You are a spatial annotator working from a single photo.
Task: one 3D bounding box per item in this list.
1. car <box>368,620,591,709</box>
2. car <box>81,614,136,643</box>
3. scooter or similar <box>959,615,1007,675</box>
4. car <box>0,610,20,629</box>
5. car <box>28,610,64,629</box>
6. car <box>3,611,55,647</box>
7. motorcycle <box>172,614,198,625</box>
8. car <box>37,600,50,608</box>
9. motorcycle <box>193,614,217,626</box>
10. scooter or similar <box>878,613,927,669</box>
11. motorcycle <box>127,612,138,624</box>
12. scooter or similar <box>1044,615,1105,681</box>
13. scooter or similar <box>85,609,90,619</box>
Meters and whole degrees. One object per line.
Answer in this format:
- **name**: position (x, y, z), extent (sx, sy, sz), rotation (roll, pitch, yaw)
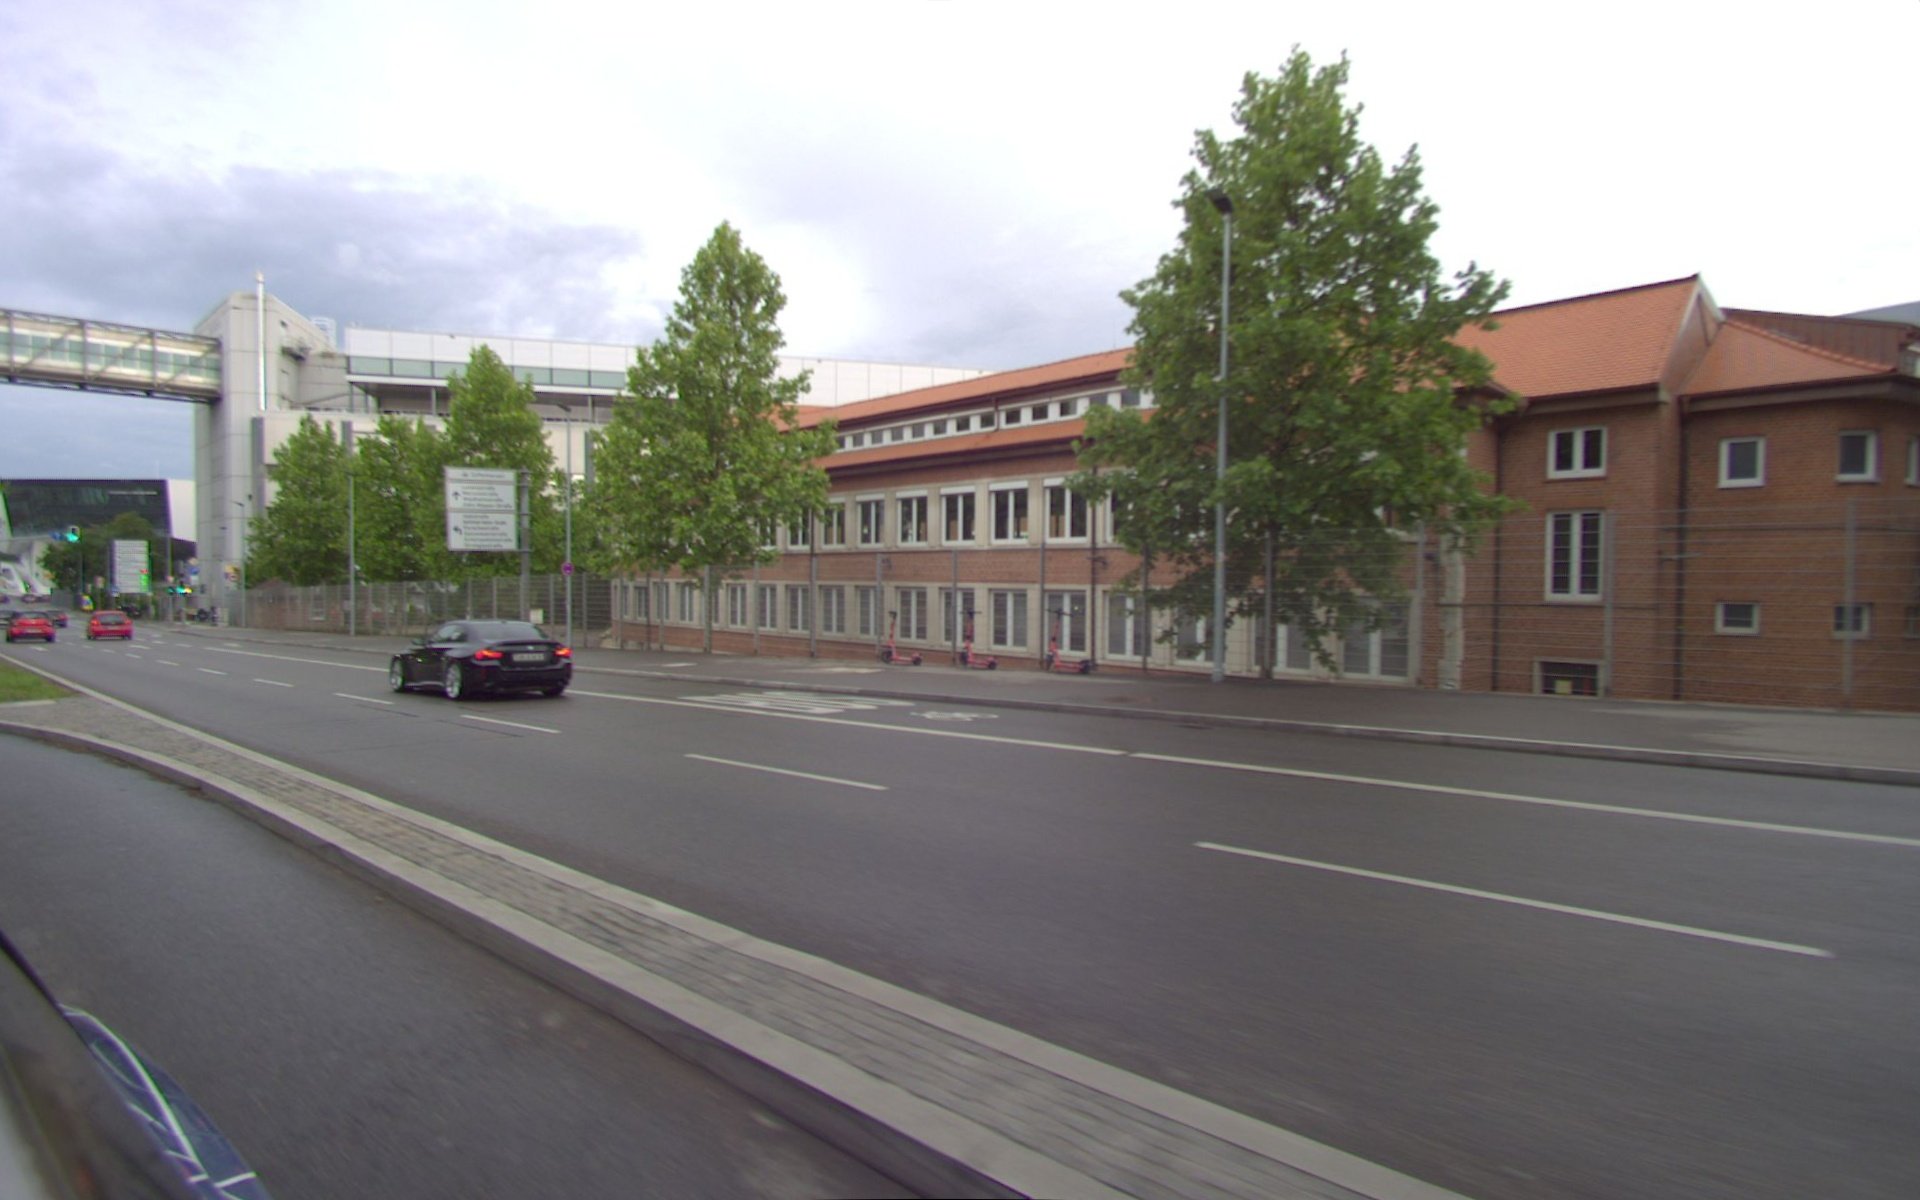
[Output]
- **car**: position (-8.836, 1.077, 18.416), extent (4.756, 1.372, 2.041), rotation (-1, -1, 43)
- **car**: position (-44.079, 1.451, 52.366), extent (3.772, 1.448, 1.696), rotation (0, -1, 43)
- **scooter or similar**: position (0.474, 0.927, 21.343), extent (0.307, 1.227, 1.311), rotation (0, -1, -34)
- **car**: position (-70.532, 1.419, 74.627), extent (4.113, 1.414, 1.560), rotation (0, -1, 44)
- **car**: position (-69.708, 1.441, 77.156), extent (4.616, 1.414, 1.753), rotation (0, -1, 44)
- **car**: position (-44.322, 1.344, 48.176), extent (3.856, 1.617, 1.567), rotation (0, -1, 44)
- **motorcycle**: position (-70.707, 1.784, 92.325), extent (2.146, 1.035, 0.625), rotation (0, 0, 10)
- **car**: position (-177.815, 0.766, 196.274), extent (1.751, 1.601, 4.488), rotation (1, 0, -44)
- **motorcycle**: position (-68.508, 1.831, 91.838), extent (2.152, 1.035, 0.623), rotation (0, 0, 18)
- **scooter or similar**: position (-1.315, 0.926, 23.092), extent (1.308, 1.227, 0.308), rotation (-1, -1, 44)
- **motorcycle**: position (-80.348, 1.761, 98.221), extent (2.039, 1.171, 0.561), rotation (0, 0, 43)
- **scooter or similar**: position (2.208, 0.919, 19.652), extent (0.307, 1.227, 1.309), rotation (0, -1, -41)
- **scooter or similar**: position (-105.609, 1.710, 122.473), extent (1.570, 1.138, 0.389), rotation (0, 0, 45)
